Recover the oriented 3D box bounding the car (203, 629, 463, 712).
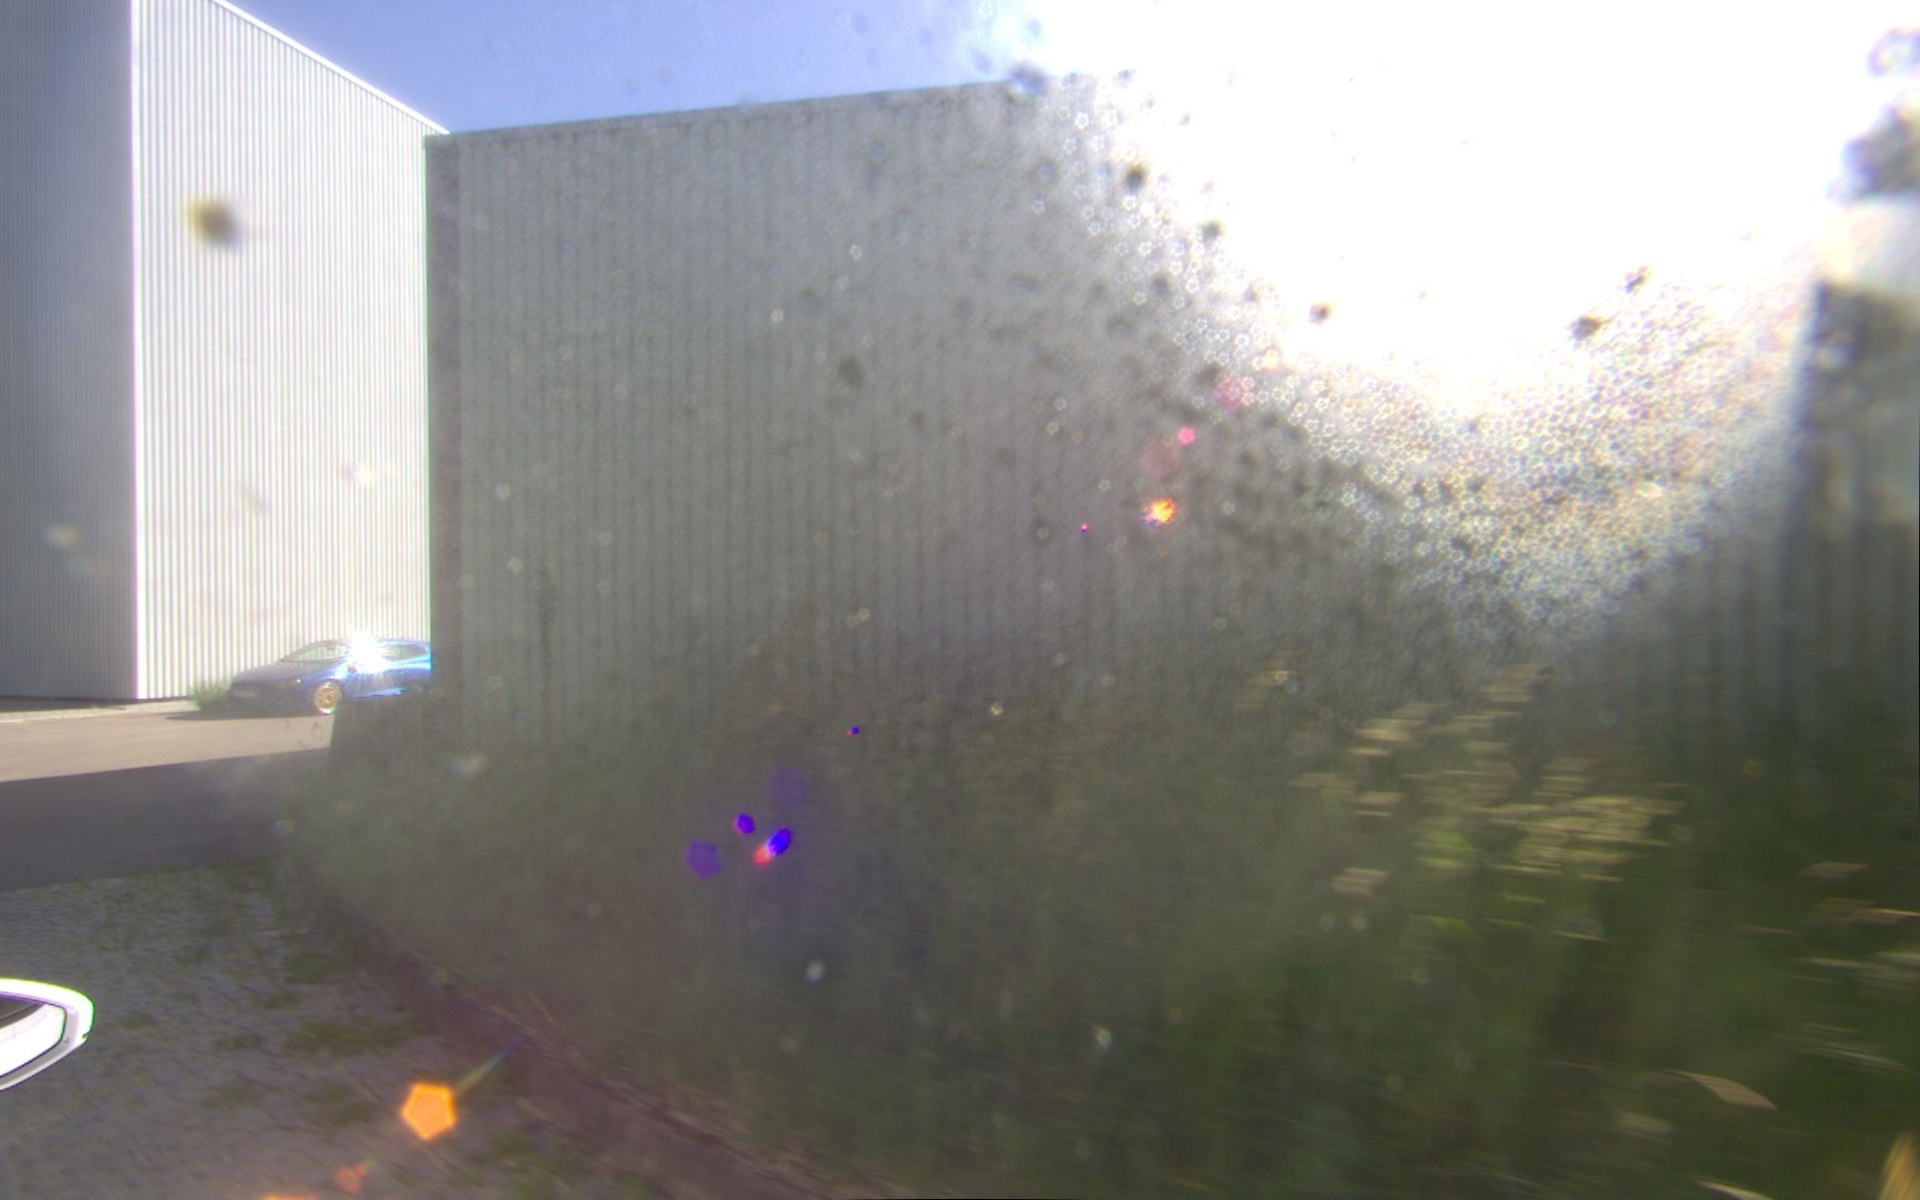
[{"bbox_3d":[-11.902,1.275,19.366,1.723,1.402,4.164,0,-2,17],"label":"car"}]

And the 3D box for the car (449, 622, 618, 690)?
[{"bbox_3d":[-10.383,1.308,24.707,1.723,1.492,3.893,2,-1,17],"label":"car"}]
